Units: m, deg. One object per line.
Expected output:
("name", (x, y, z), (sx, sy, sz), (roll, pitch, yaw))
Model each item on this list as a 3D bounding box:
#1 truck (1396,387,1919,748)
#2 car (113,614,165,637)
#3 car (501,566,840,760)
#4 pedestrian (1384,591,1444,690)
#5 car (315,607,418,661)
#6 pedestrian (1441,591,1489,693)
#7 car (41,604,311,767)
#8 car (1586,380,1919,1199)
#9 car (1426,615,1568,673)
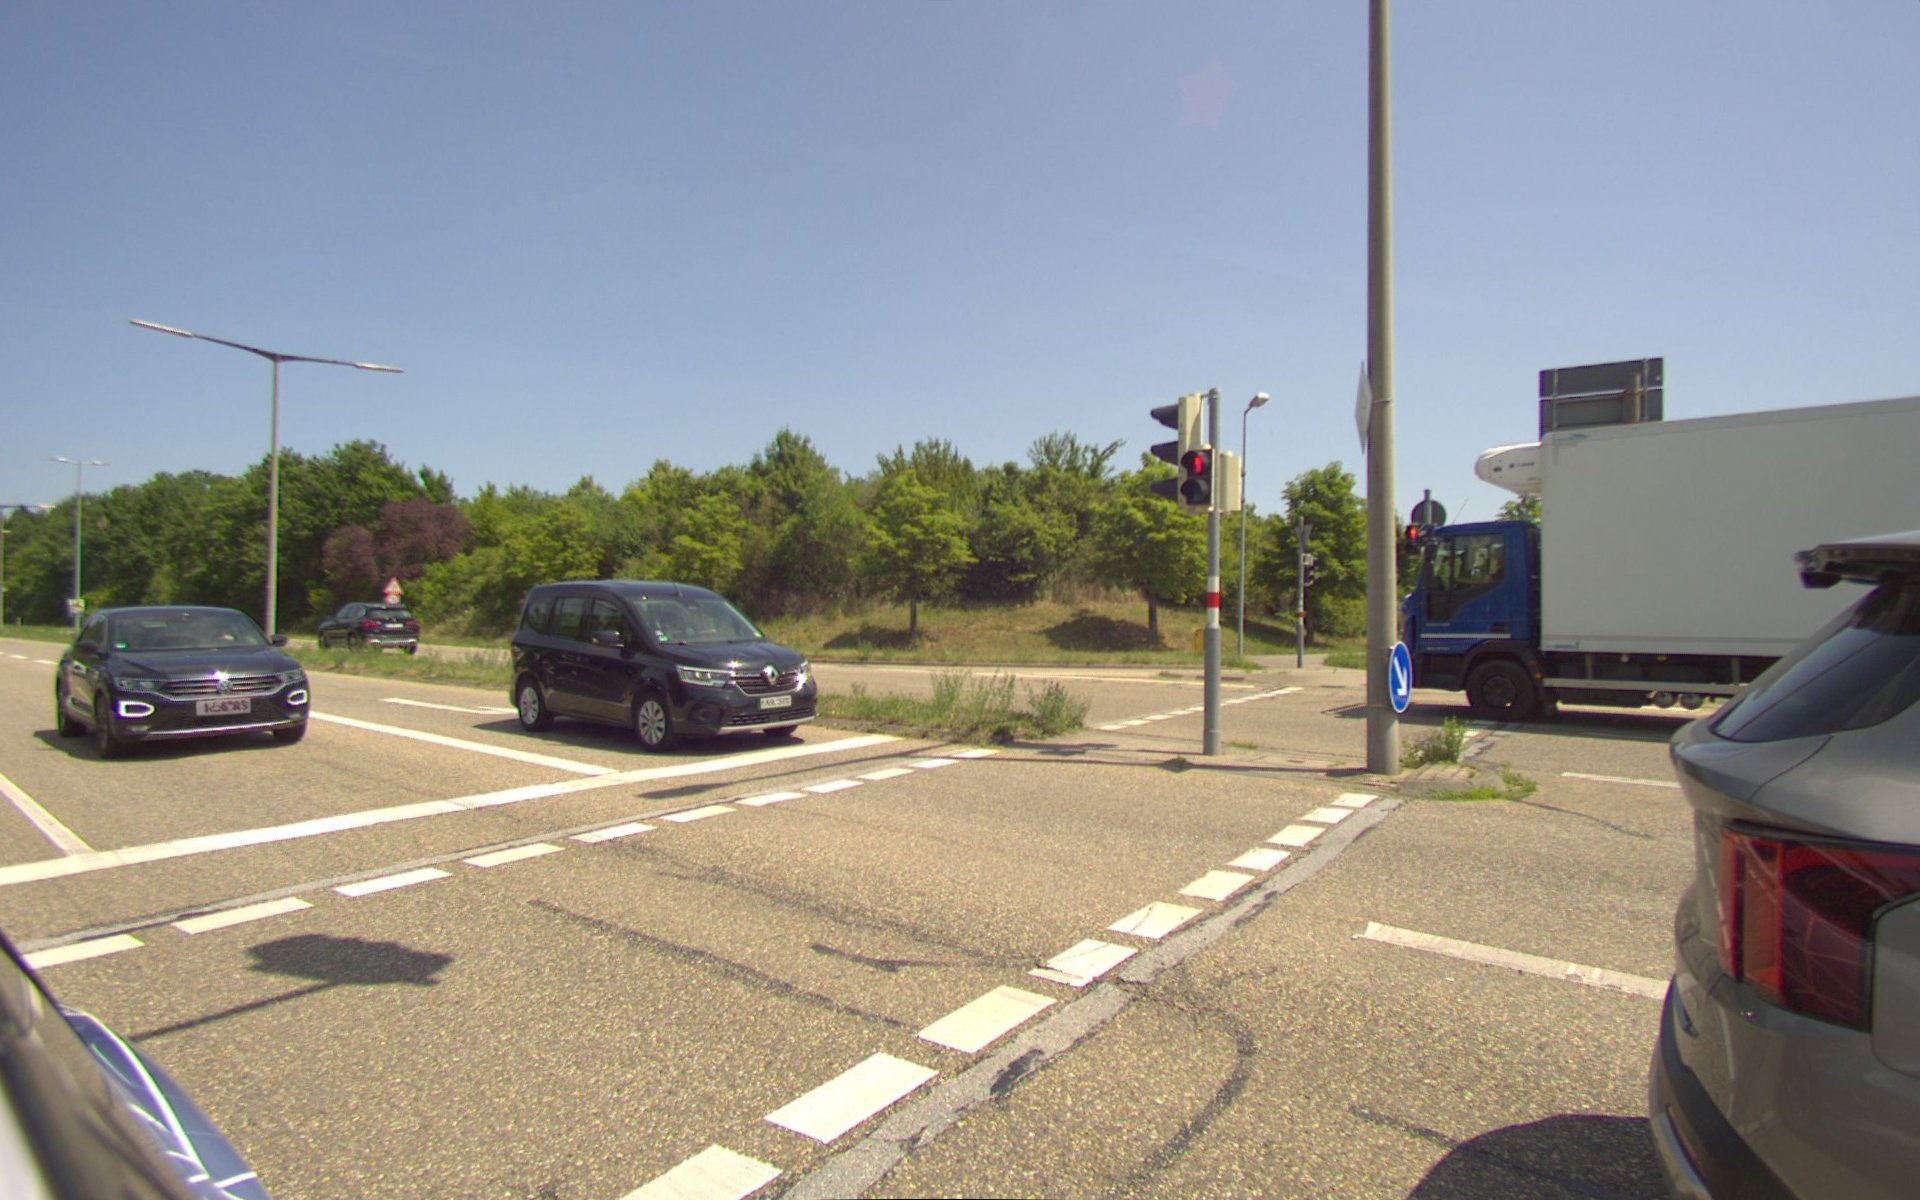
("truck", (9.365, -0.296, 11.983), (7.263, 3.597, 2.659), (-1, -1, 41))
("car", (-53.877, 1.646, 66.389), (4.164, 1.467, 1.804), (-1, -2, 39))
("car", (-3.469, 0.633, 11.675), (4.320, 1.840, 1.713), (-1, -1, 42))
("pedestrian", (8.234, 0.717, 18.376), (0.573, 1.749, 0.795), (1, -1, -30))
("car", (-19.474, 1.082, 33.117), (4.221, 1.676, 1.689), (-1, -2, 42))
("pedestrian", (8.812, 0.719, 17.652), (0.721, 1.712, 0.768), (-1, -1, 27))
("car", (-9.021, 0.825, 11.528), (3.969, 1.523, 1.716), (-1, 0, 41))
("car", (3.280, 0.555, 0.682), (4.642, 1.675, 1.785), (0, -1, 41))
("car", (15.228, 1.280, 28.618), (4.239, 1.513, 1.883), (3, -5, -37))
